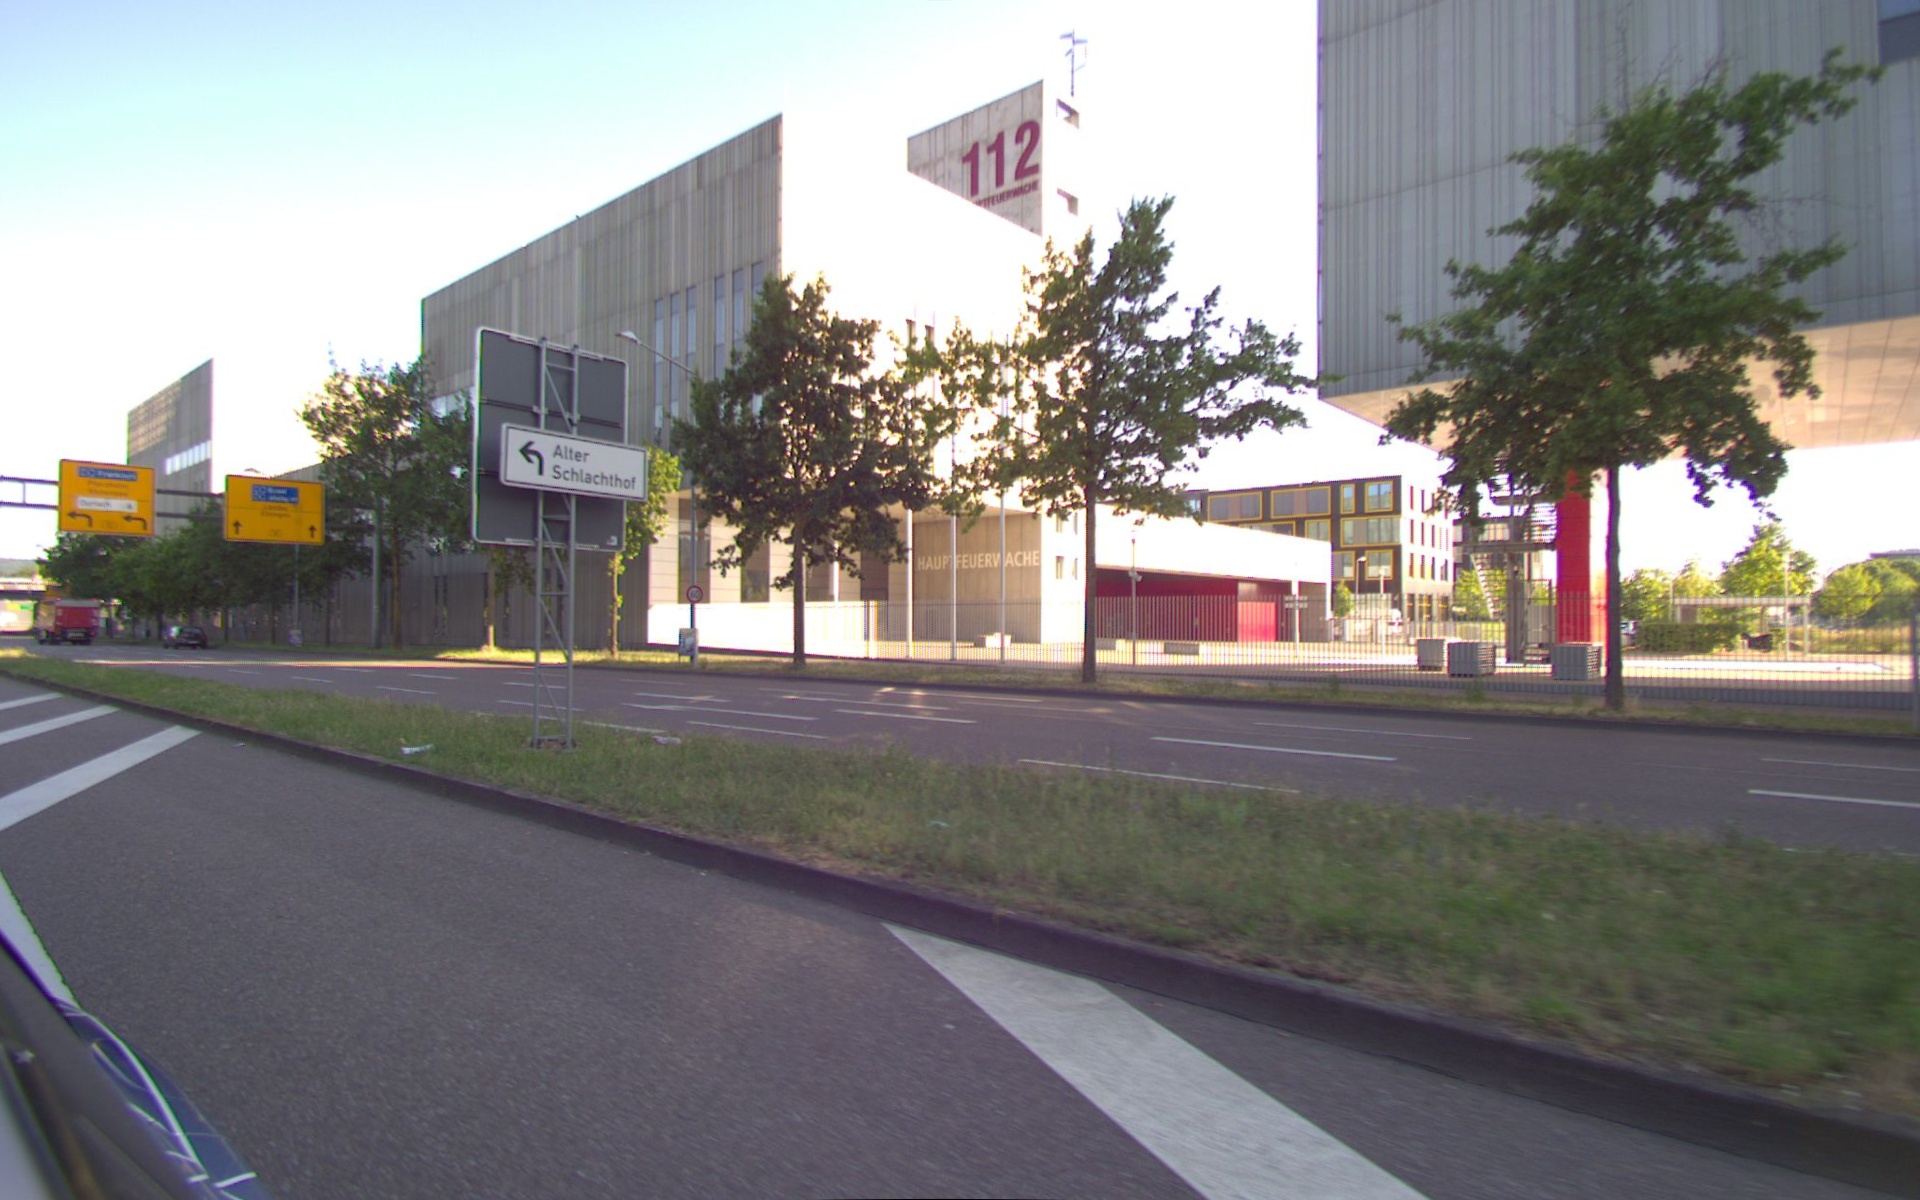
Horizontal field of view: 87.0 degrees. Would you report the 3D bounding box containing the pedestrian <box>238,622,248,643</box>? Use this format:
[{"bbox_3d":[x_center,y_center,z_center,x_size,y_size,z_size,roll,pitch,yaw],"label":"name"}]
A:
[{"bbox_3d":[-61.942,2.804,87.437,0.649,1.781,0.596,-2,-2,42],"label":"pedestrian"}]

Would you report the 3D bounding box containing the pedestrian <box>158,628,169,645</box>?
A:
[{"bbox_3d":[-76.568,3.536,97.318,0.725,1.641,0.689,-2,-2,41],"label":"pedestrian"}]

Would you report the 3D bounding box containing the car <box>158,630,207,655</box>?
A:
[{"bbox_3d":[-49.581,2.707,64.534,3.862,1.524,1.580,-1,-2,38],"label":"car"}]

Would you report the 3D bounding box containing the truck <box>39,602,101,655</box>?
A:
[{"bbox_3d":[-68.626,2.171,77.972,2.964,3.840,10.094,1,-2,-45],"label":"truck"}]
